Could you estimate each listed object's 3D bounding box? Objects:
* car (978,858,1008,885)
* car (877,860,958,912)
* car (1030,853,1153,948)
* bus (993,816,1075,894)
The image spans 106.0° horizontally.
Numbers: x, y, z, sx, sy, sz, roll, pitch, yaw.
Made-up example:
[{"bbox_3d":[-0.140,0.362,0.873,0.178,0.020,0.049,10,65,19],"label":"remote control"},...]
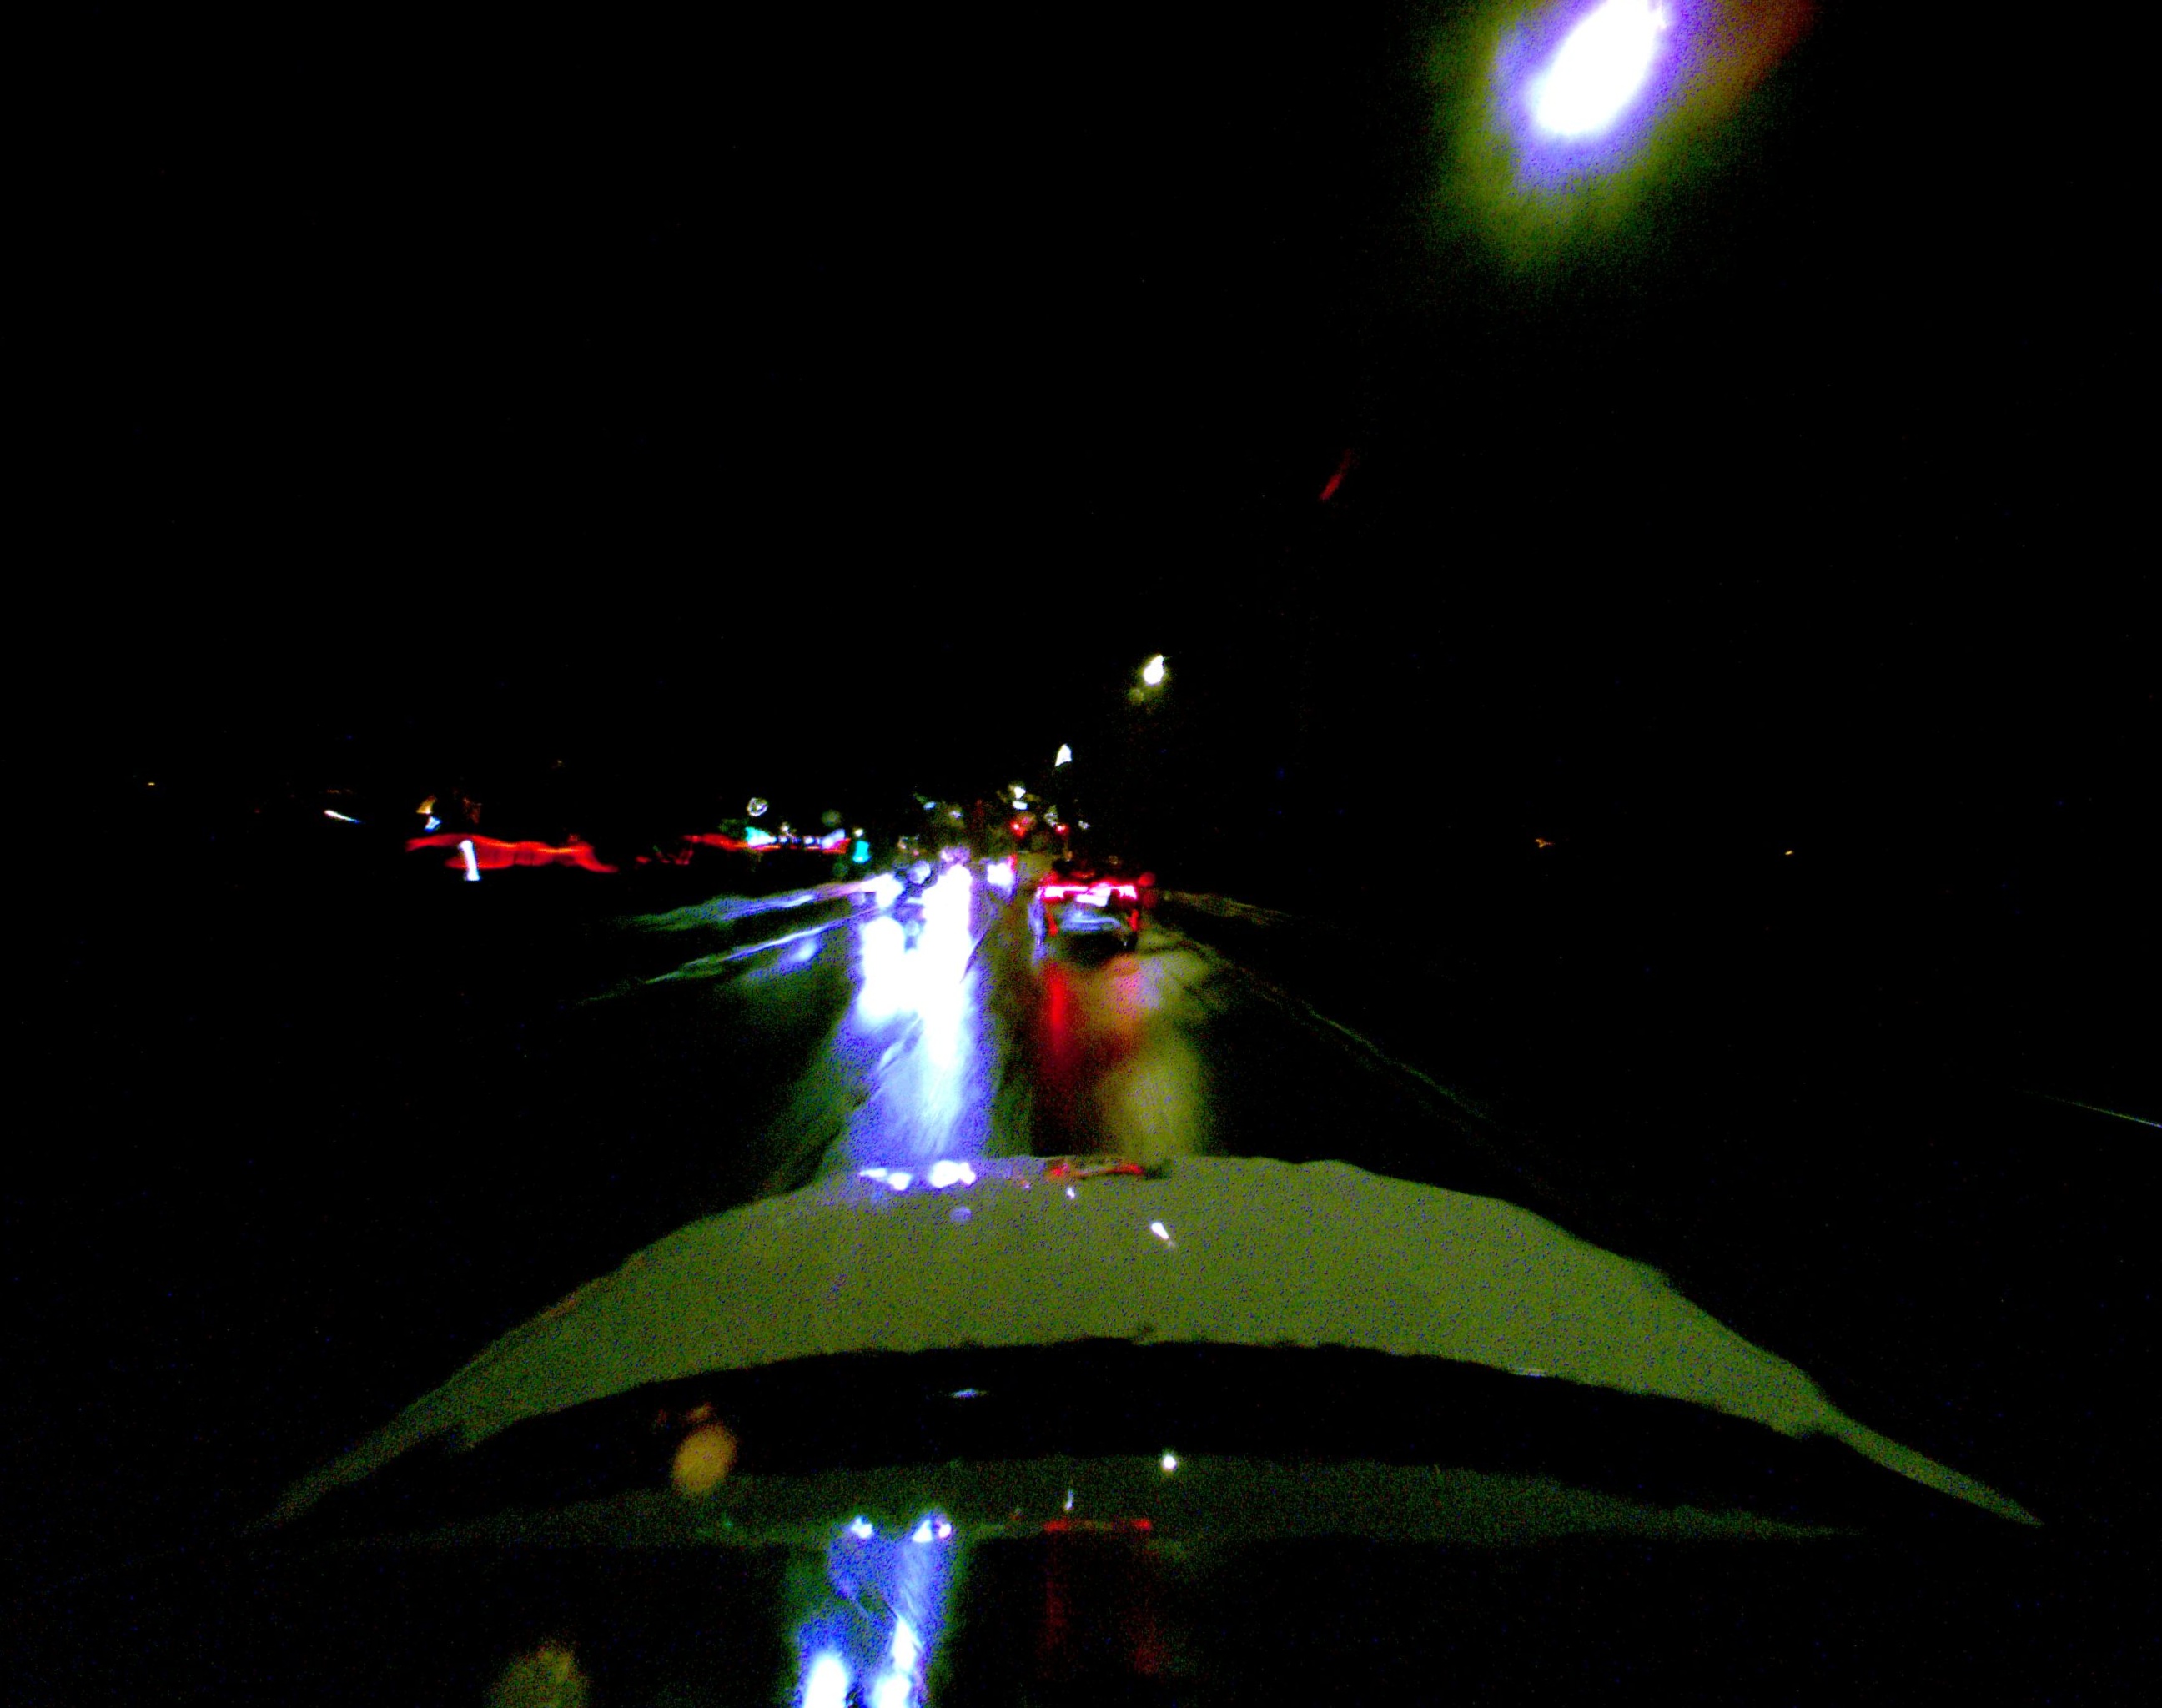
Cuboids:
[{"bbox_3d":[-8.636,1.662,79.645,2.696,2.478,5.290,0,0,-8],"label":"car"},{"bbox_3d":[-4.842,0.913,24.709,1.789,1.392,4.584,-1,-1,-4],"label":"car"},{"bbox_3d":[0.197,0.752,15.225,1.987,1.524,4.000,1,0,1],"label":"car"},{"bbox_3d":[-2.405,0.060,38.071,3.042,3.212,9.023,0,0,-8],"label":"bus"}]
